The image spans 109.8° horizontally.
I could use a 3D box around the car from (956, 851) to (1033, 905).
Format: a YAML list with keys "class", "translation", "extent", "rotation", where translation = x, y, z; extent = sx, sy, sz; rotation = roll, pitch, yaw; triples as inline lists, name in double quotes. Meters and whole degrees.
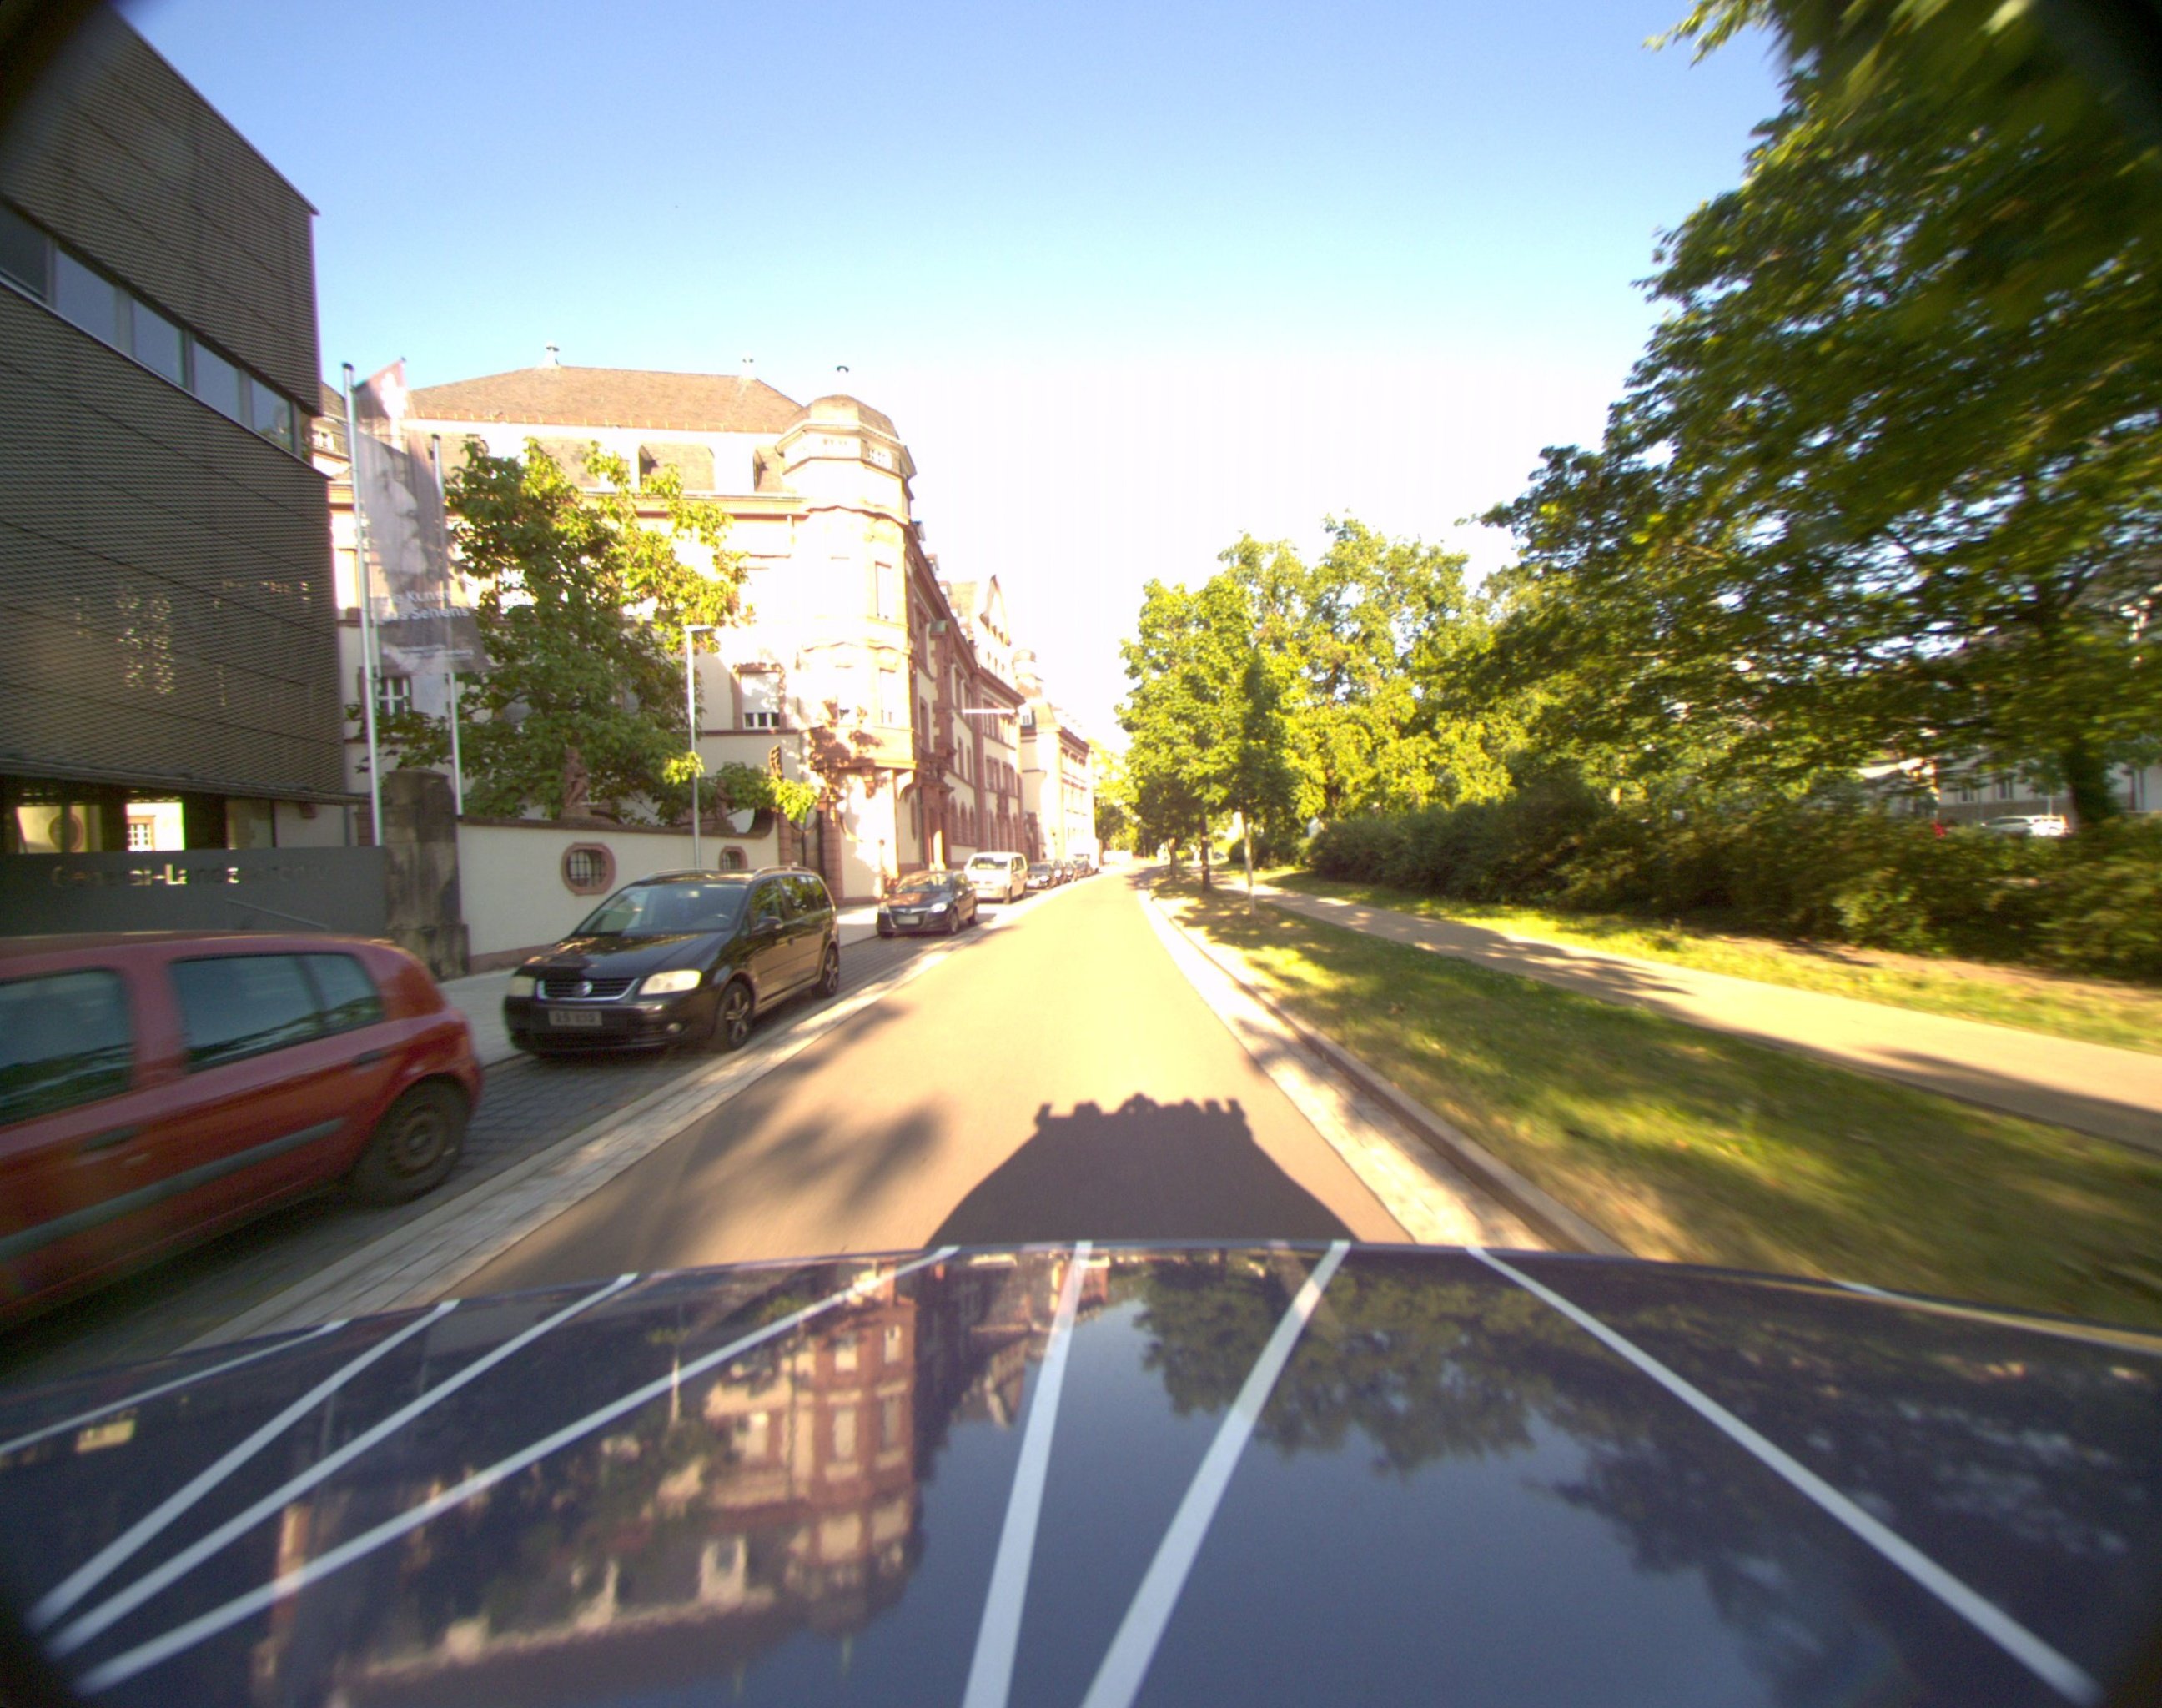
- class: "car"
  translation: [-3.385, 0.898, 30.731]
  extent: [1.997, 1.954, 4.851]
  rotation: [-1, 0, 7]

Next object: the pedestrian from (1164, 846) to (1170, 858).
- class: "pedestrian"
  translation: [13.393, -0.345, 118.042]
  extent: [0.613, 1.828, 0.726]
  rotation: [-2, -2, -6]

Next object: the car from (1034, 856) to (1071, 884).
- class: "car"
  translation: [-1.727, 0.921, 46.654]
  extent: [1.820, 1.593, 4.193]
  rotation: [-1, 0, 4]

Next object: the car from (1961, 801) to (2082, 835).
- class: "car"
  translation: [51.395, -1.932, 41.658]
  extent: [1.934, 1.572, 4.220]
  rotation: [-3, 0, 13]

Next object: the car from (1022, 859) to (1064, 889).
- class: "car"
  translation: [-2.000, 1.049, 41.271]
  extent: [1.682, 1.395, 4.200]
  rotation: [0, 1, 5]

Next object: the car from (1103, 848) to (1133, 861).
- class: "car"
  translation: [7.871, 0.109, 161.999]
  extent: [5.910, 2.684, 2.219]
  rotation: [-3, 0, -10]

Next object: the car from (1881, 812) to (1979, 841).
- class: "car"
  translation: [52.464, -1.657, 47.073]
  extent: [1.934, 1.572, 4.220]
  rotation: [-3, 0, 13]

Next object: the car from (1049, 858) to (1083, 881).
- class: "car"
  translation: [-0.984, 1.027, 51.564]
  extent: [1.875, 1.428, 4.524]
  rotation: [-1, 0, 5]

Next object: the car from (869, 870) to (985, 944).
- class: "car"
  translation: [-3.602, 1.190, 18.554]
  extent: [1.752, 1.458, 4.478]
  rotation: [-1, 0, 2]

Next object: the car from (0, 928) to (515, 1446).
- class: "car"
  translation: [-4.229, 1.150, 2.491]
  extent: [1.728, 1.413, 3.906]
  rotation: [-1, 0, 1]

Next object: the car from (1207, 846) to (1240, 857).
- class: "car"
  translation: [23.180, -0.370, 123.908]
  extent: [4.837, 1.549, 1.867]
  rotation: [-3, 0, -8]

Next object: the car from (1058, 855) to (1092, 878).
- class: "car"
  translation: [-0.408, 0.911, 58.868]
  extent: [1.771, 1.522, 4.575]
  rotation: [-4, 0, 9]

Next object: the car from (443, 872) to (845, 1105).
- class: "car"
  translation: [-3.933, 1.064, 7.794]
  extent: [1.728, 1.659, 4.114]
  rotation: [-1, 0, 0]

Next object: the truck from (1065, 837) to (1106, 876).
- class: "truck"
  translation: [0.484, 0.169, 66.035]
  extent: [2.629, 3.102, 6.090]
  rotation: [-4, 0, 7]
